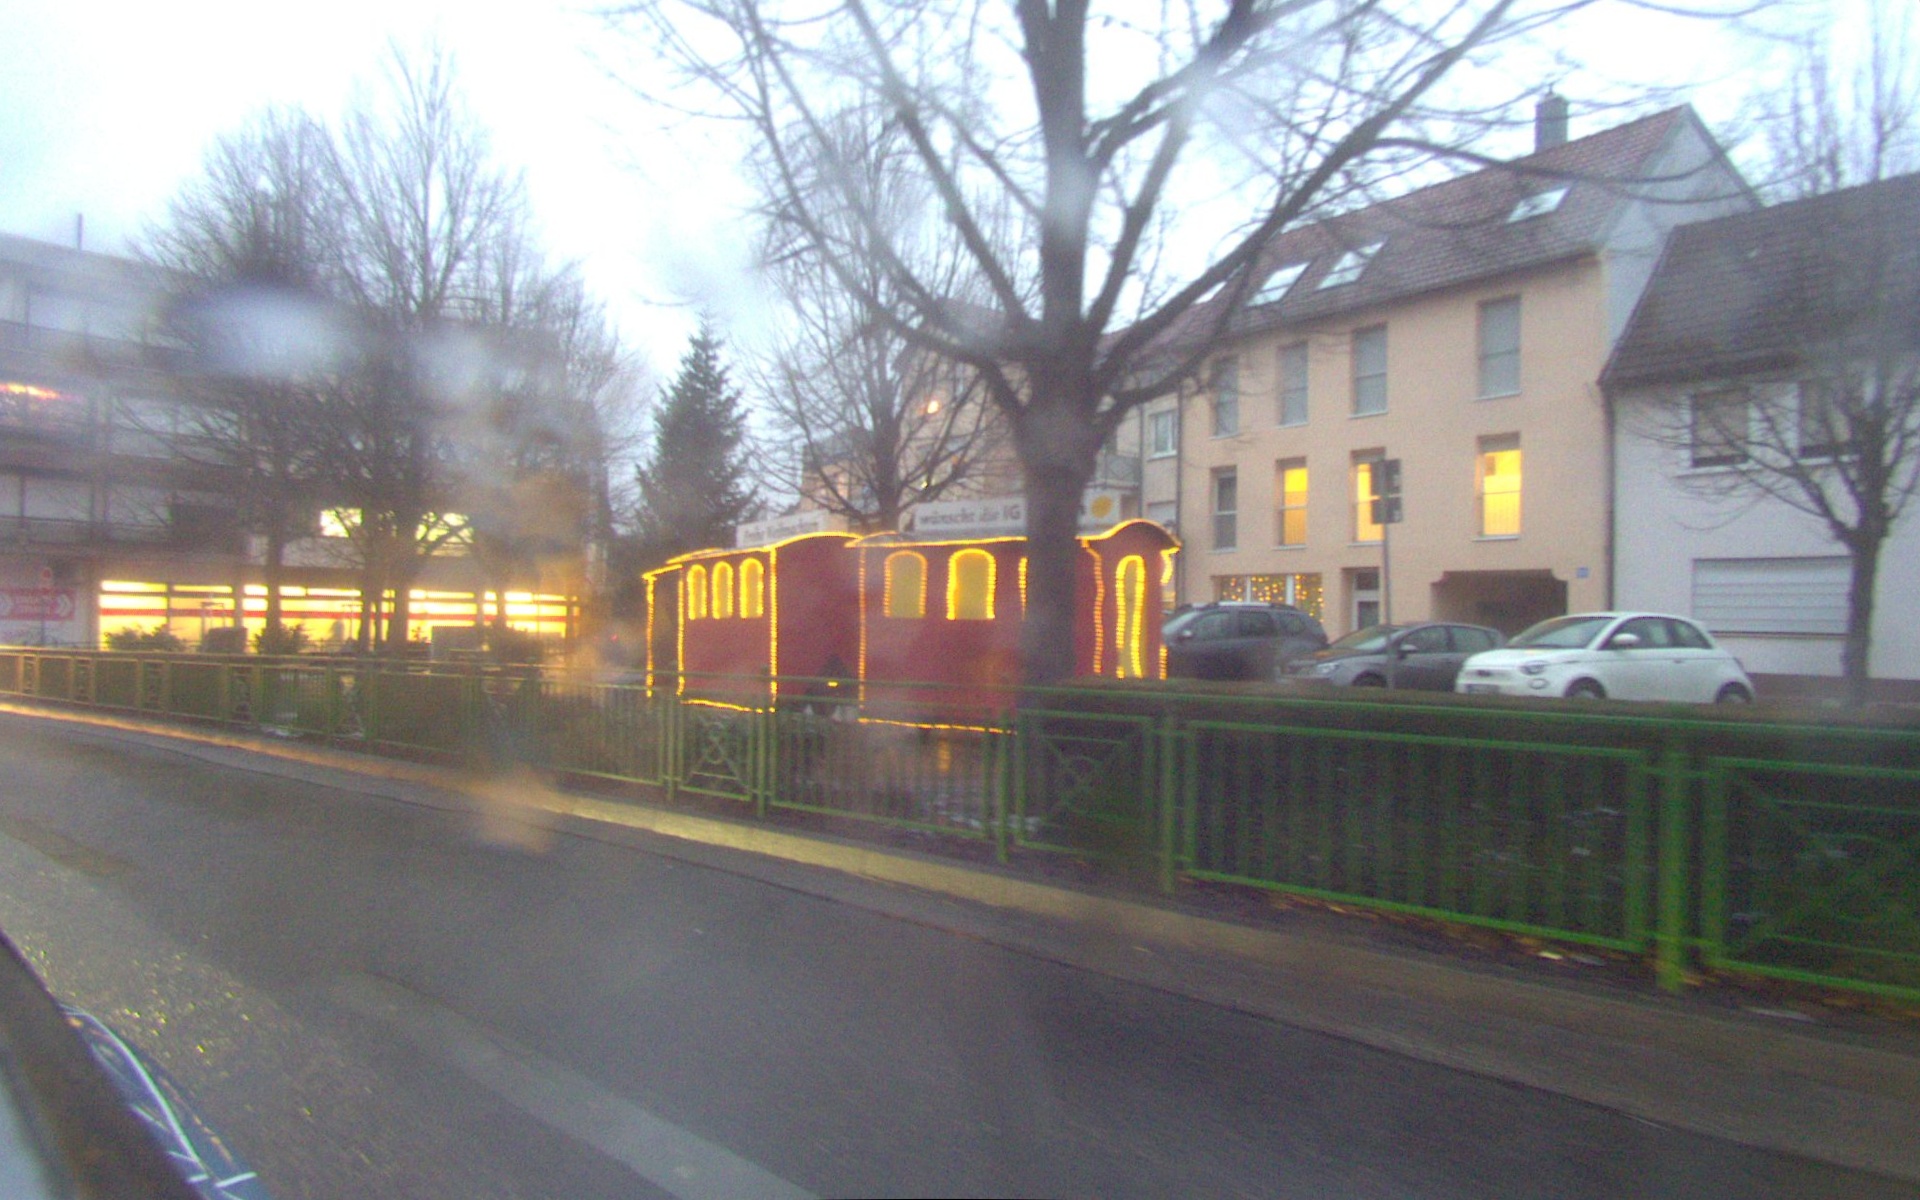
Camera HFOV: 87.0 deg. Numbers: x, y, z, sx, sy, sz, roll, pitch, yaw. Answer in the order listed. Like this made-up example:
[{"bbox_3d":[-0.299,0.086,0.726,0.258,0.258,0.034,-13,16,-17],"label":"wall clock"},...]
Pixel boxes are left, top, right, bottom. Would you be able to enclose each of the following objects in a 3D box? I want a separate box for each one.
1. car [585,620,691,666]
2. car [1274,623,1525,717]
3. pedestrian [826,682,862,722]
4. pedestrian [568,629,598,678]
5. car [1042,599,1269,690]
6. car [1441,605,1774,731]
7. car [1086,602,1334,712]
[{"bbox_3d":[-11.343,1.496,35.755,3.260,1.519,1.504,0,-2,-42],"label":"car"},{"bbox_3d":[6.425,0.969,14.896,3.004,1.229,1.615,-1,-1,-15],"label":"car"},{"bbox_3d":[-1.497,1.319,13.076,0.361,0.488,0.291,-1,-4,41],"label":"pedestrian"},{"bbox_3d":[-10.573,1.497,28.391,0.612,1.349,0.568,0,-2,-42],"label":"pedestrian"},{"bbox_3d":[3.679,0.840,19.431,3.937,1.645,1.637,0,-2,-7],"label":"car"},{"bbox_3d":[8.200,0.804,12.921,3.427,1.420,1.614,-1,-1,-13],"label":"car"},{"bbox_3d":[4.055,0.882,16.577,3.573,1.624,1.615,-1,-1,-15],"label":"car"}]
